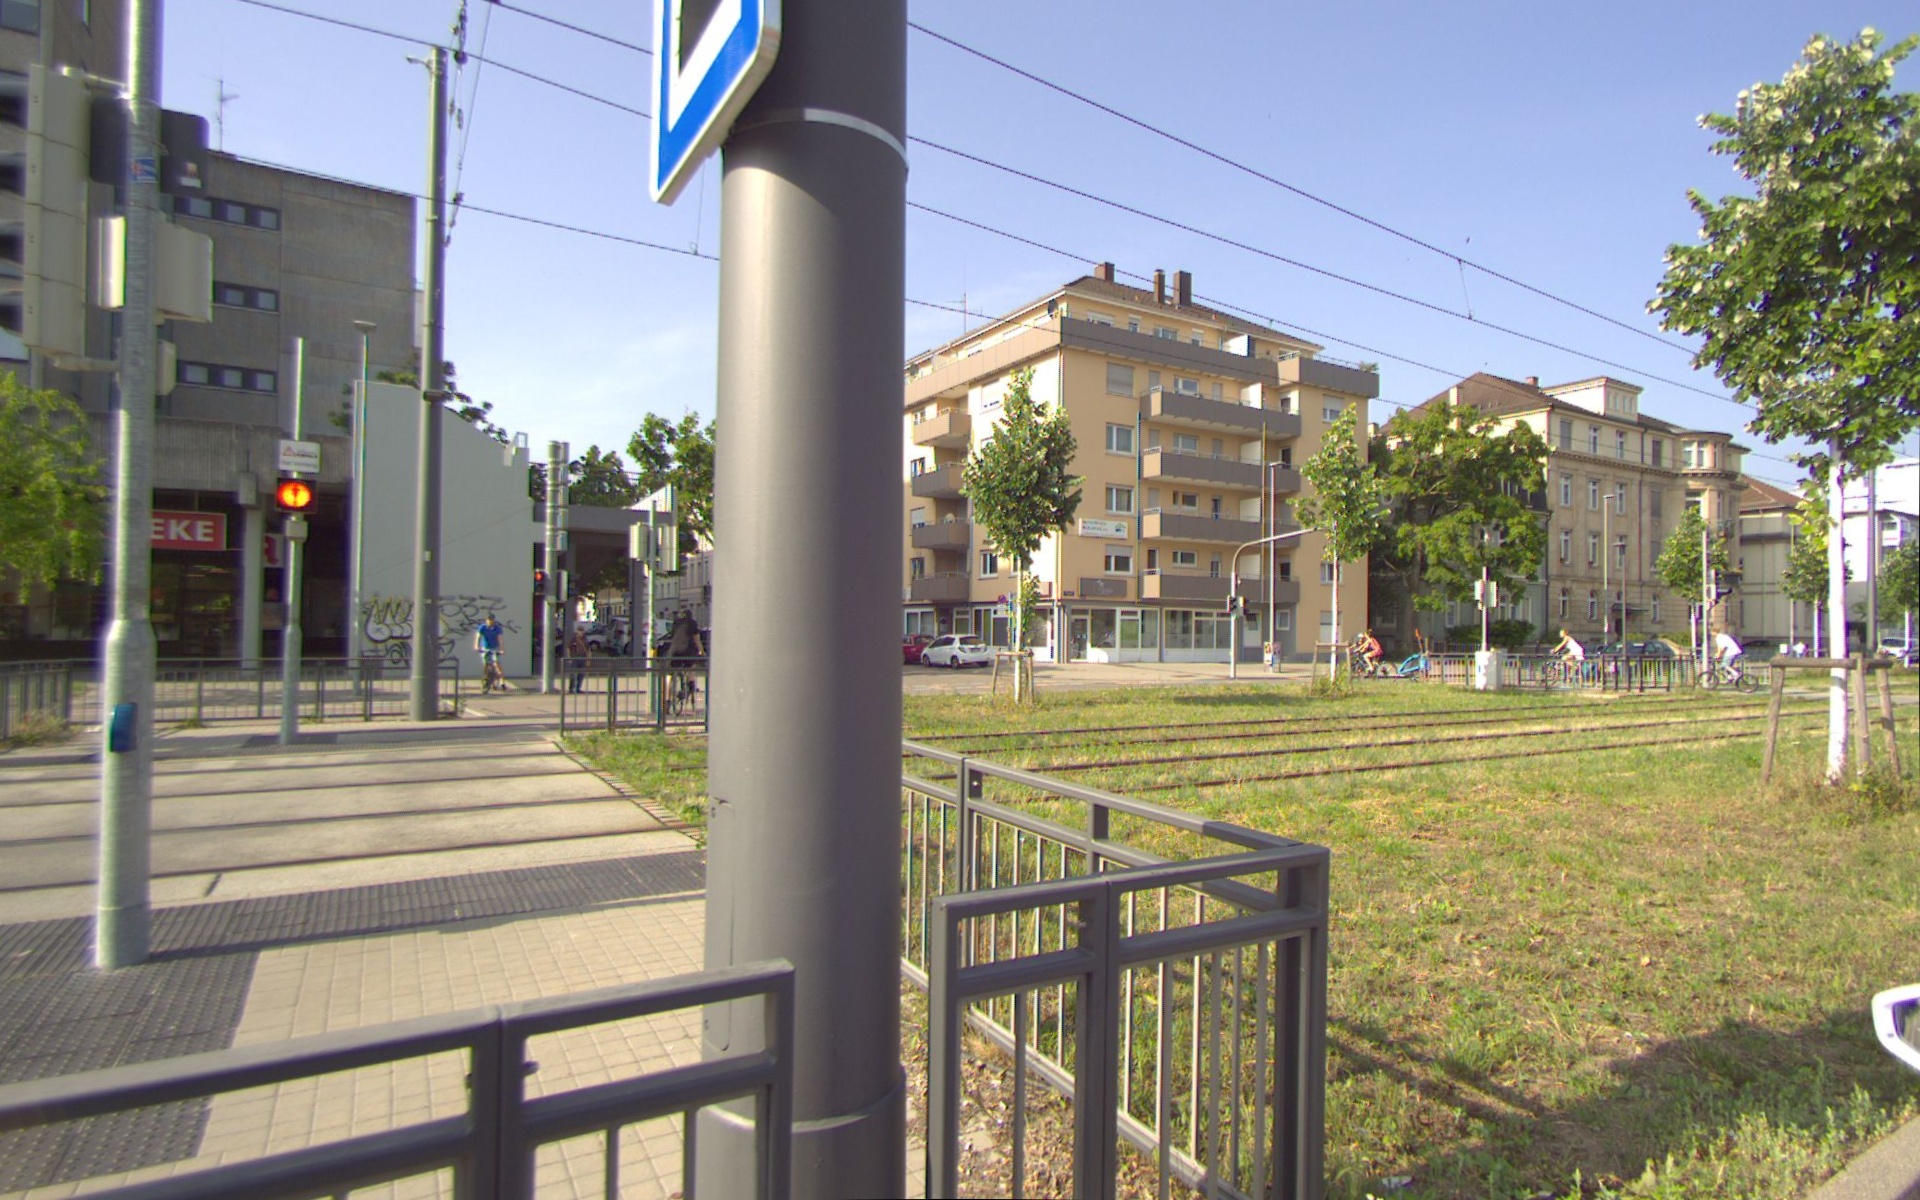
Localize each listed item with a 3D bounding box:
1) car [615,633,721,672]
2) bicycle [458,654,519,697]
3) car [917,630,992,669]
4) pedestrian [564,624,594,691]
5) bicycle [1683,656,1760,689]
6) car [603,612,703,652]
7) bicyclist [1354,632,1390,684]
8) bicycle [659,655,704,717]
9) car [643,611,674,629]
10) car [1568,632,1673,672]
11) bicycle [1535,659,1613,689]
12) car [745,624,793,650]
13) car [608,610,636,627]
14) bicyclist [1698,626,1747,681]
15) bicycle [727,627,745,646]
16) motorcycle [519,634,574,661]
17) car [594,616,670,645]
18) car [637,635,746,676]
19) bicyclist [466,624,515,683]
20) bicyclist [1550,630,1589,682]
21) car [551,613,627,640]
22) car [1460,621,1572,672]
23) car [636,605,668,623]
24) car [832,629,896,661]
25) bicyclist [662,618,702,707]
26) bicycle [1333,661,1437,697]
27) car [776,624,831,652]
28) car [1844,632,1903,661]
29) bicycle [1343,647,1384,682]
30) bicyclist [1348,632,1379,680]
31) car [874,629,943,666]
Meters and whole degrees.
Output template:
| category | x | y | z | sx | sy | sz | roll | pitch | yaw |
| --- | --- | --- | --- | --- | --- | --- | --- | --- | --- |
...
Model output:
| category | x | y | z | sx | sy | sz | roll | pitch | yaw |
| --- | --- | --- | --- | --- | --- | --- | --- | --- | --- |
| car | -13.579 | 2.423 | 46.794 | 4.335 | 1.650 | 1.897 | 2 | 0 | -34 |
| bicycle | -11.927 | 1.899 | 25.466 | 0.671 | 1.004 | 1.668 | 1 | -1 | 4 |
| car | -0.274 | 2.201 | 45.658 | 1.691 | 1.604 | 3.601 | -1 | 0 | -33 |
| pedestrian | -9.921 | 1.480 | 26.168 | 0.637 | 1.713 | 0.656 | 1 | -1 | -27 |
| bicycle | 21.122 | 2.009 | 27.882 | 1.573 | 0.808 | 0.720 | 2 | 0 | -3 |
| car | -16.444 | 1.742 | 53.867 | 4.778 | 1.994 | 1.984 | 3 | -2 | -31 |
| bicyclist | 13.389 | 1.877 | 32.636 | 0.878 | 1.650 | 0.889 | 0 | -2 | 36 |
| bicycle | -4.560 | 1.400 | 16.519 | 0.547 | 0.947 | 1.611 | -1 | -4 | -10 |
| car | -29.229 | 1.926 | 97.396 | 1.797 | 1.625 | 3.915 | 2 | -2 | -34 |
| car | 26.838 | 2.100 | 40.786 | 4.351 | 1.533 | 1.982 | 2 | -2 | -33 |
| bicycle | 18.219 | 2.196 | 29.849 | 1.968 | 0.804 | 0.628 | 0 | -2 | 32 |
| car | -12.860 | 2.475 | 67.531 | 1.797 | 1.625 | 3.915 | 2 | -2 | -34 |
| car | -35.157 | 1.934 | 104.440 | 1.797 | 1.625 | 3.915 | 2 | -2 | -34 |
| bicyclist | 21.150 | 1.482 | 27.870 | 0.790 | 1.459 | 0.687 | 2 | 0 | -2 |
| bicycle | -11.838 | 1.917 | 53.006 | 0.696 | 1.012 | 2.337 | 1 | -2 | -19 |
| motorcycle | -16.194 | 1.844 | 39.351 | 1.923 | 1.031 | 0.490 | 2 | -2 | -31 |
| car | -19.517 | 1.840 | 59.817 | 3.954 | 1.639 | 1.984 | 2 | -2 | -31 |
| car | -11.996 | 2.490 | 44.958 | 4.335 | 1.650 | 1.897 | 2 | 0 | -34 |
| bicyclist | -11.929 | 1.350 | 25.548 | 0.672 | 1.459 | 1.025 | 1 | -1 | 4 |
| bicyclist | 18.140 | 1.645 | 29.908 | 0.969 | 1.520 | 0.619 | 0 | -1 | 32 |
| car | -26.031 | 1.873 | 70.578 | 4.715 | 1.843 | 1.984 | 2 | -2 | -31 |
| car | 23.720 | 1.967 | 42.796 | 5.245 | 2.040 | 1.982 | 2 | -2 | -33 |
| car | -31.013 | 1.418 | 101.208 | 1.980 | 1.658 | 3.962 | 2 | -2 | -34 |
| car | -5.177 | 2.397 | 53.857 | 1.797 | 1.625 | 3.916 | 2 | -2 | -34 |
| bicyclist | -4.574 | 1.026 | 16.564 | 0.536 | 1.413 | 0.972 | -1 | -3 | -10 |
| bicycle | 13.677 | 2.523 | 32.384 | 2.950 | 0.978 | 0.897 | 0 | -2 | 38 |
| car | -9.472 | 2.281 | 60.541 | 1.797 | 1.625 | 3.915 | 2 | -2 | -34 |
| car | 74.634 | 3.809 | 82.053 | 5.207 | 2.040 | 2.236 | 4 | -1 | -33 |
| bicycle | 16.004 | 2.552 | 39.831 | 1.741 | 1.364 | 0.690 | 2 | -2 | -36 |
| bicyclist | 15.975 | 2.209 | 39.807 | 1.073 | 1.829 | 0.664 | 2 | -1 | -36 |
| car | -2.581 | 2.311 | 49.643 | 1.756 | 1.711 | 3.765 | 2 | -2 | -33 |
